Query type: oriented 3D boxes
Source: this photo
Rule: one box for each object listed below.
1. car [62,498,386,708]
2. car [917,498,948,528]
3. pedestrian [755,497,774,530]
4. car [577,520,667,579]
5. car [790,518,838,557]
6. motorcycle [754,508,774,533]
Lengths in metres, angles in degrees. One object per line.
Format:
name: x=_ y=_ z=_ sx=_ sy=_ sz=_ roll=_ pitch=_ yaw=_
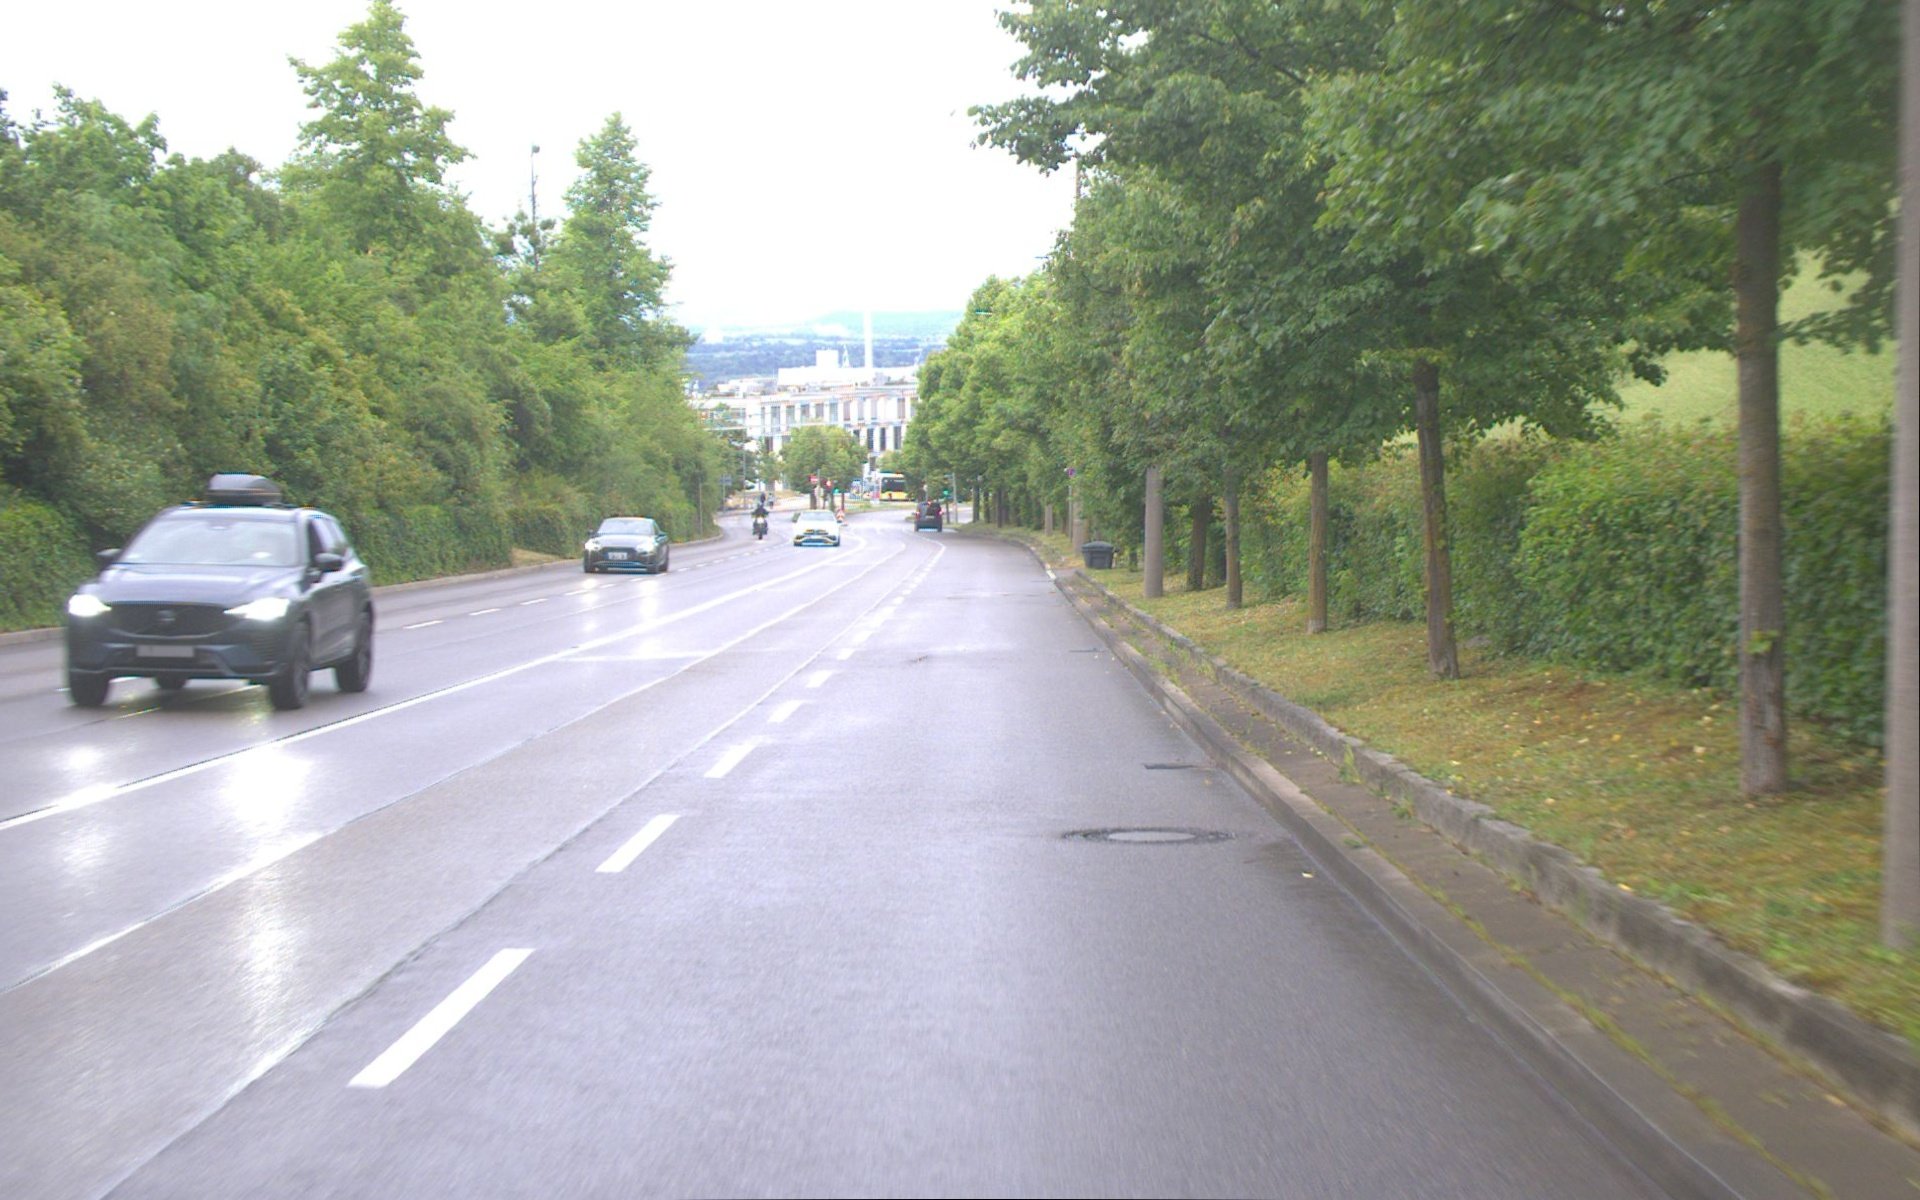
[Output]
car: x=-6.247 y=-0.026 z=29.682 sx=1.812 sy=1.652 sz=4.595 roll=1 pitch=1 yaw=0
car: x=-1.677 y=-5.343 z=211.037 sx=1.849 sy=1.696 sz=3.793 roll=1 pitch=0 yaw=-1
pedestrian: x=-9.207 y=-4.080 z=161.636 sx=0.805 sy=1.536 sz=1.111 roll=1 pitch=1 yaw=1
car: x=-8.583 y=-1.308 z=87.706 sx=1.759 sy=1.376 sz=4.838 roll=1 pitch=2 yaw=0
car: x=-5.940 y=-2.546 z=140.340 sx=1.715 sy=1.500 sz=4.517 roll=1 pitch=2 yaw=1
motorcycle: x=-9.208 y=-3.736 z=161.621 sx=0.805 sy=1.127 sz=2.231 roll=1 pitch=1 yaw=1
